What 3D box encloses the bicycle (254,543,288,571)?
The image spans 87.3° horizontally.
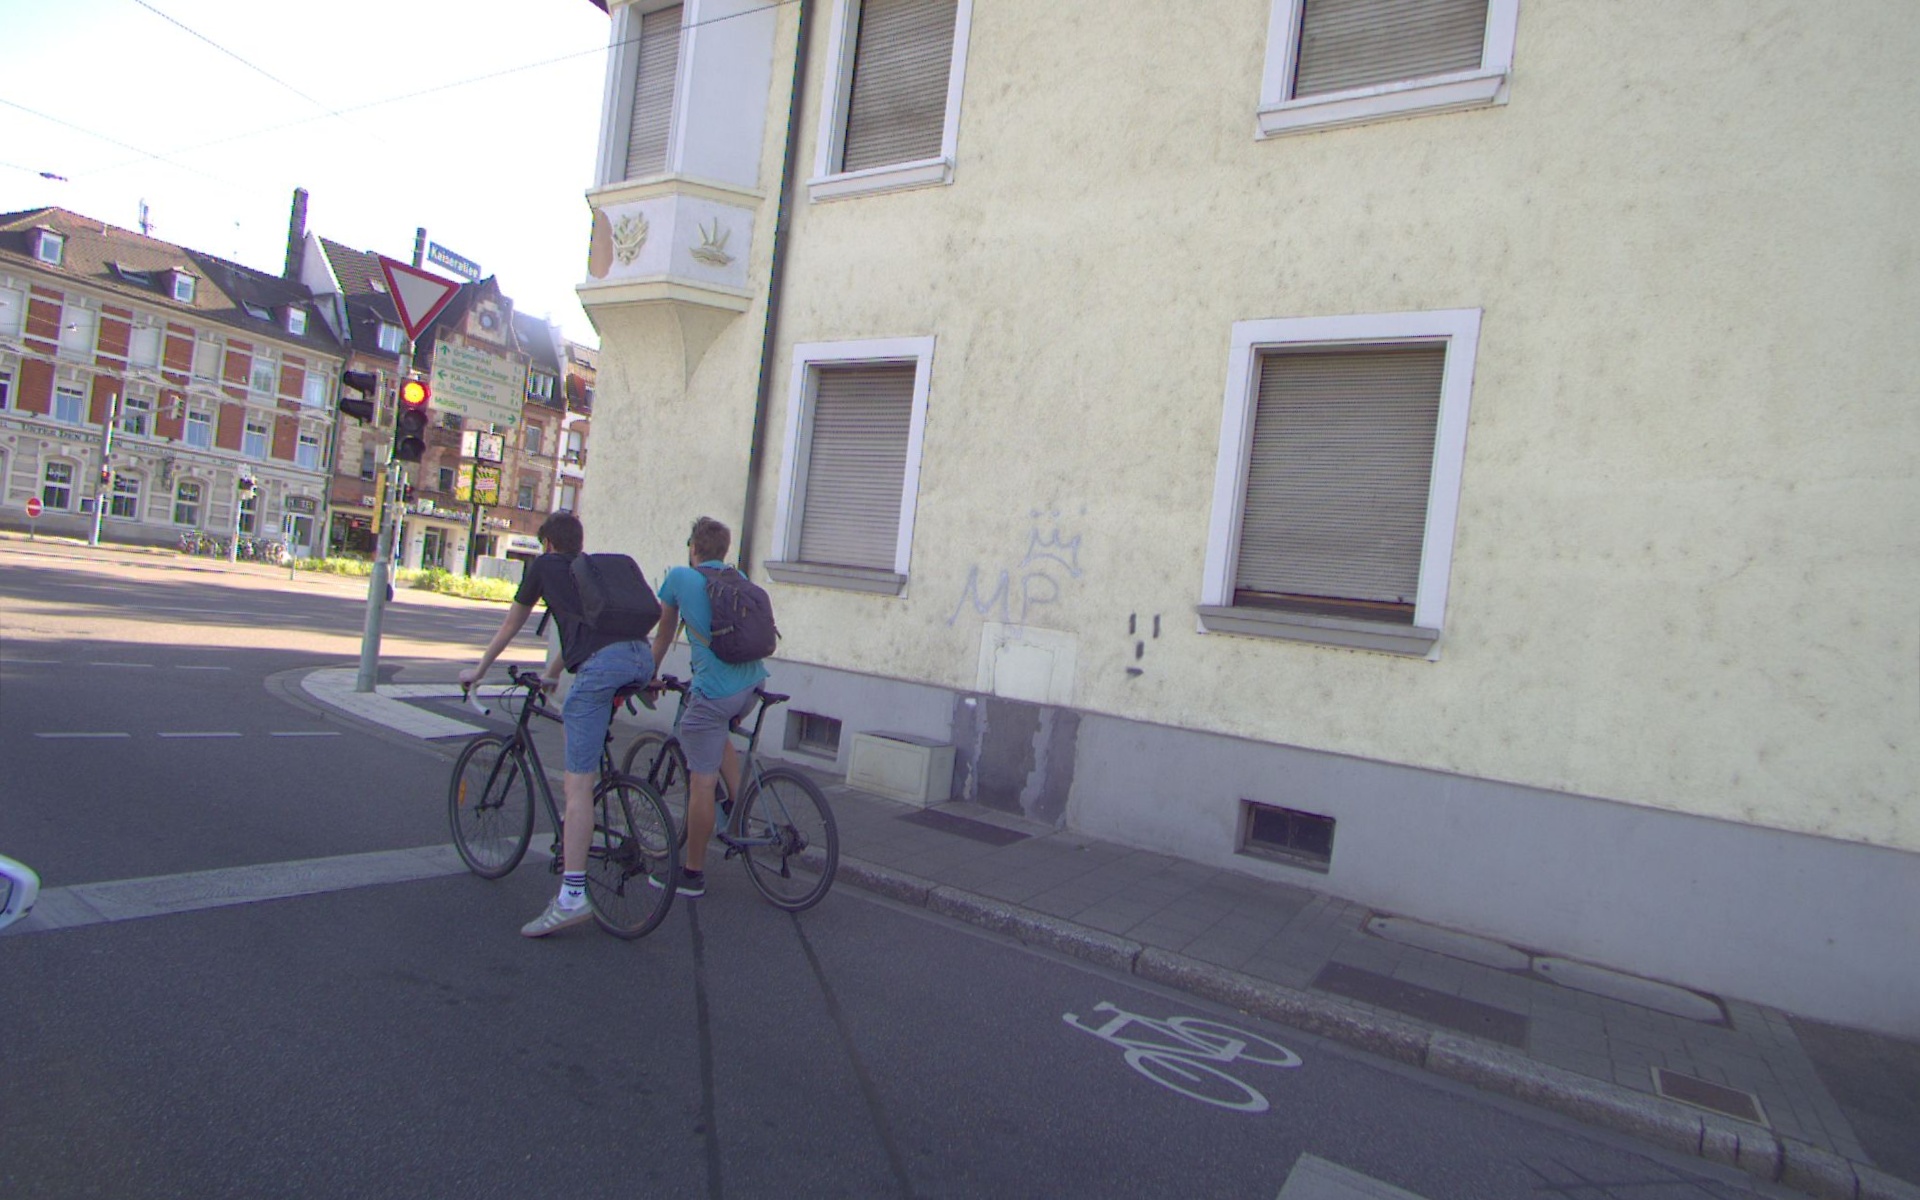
[{"bbox_3d":[-33.104,-2.069,48.318,2.102,1.150,0.609,7,0,37],"label":"bicycle"}]

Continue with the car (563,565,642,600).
[{"bbox_3d":[-23.160,-1.125,65.323,2.116,1.660,4.340,7,-1,31],"label":"car"}]

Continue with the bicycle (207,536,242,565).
[{"bbox_3d":[-34.202,-2.309,46.762,2.140,1.157,0.618,7,0,37],"label":"bicycle"}]

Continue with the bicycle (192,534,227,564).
[{"bbox_3d":[-34.537,-2.357,46.285,2.140,1.157,0.618,7,0,37],"label":"bicycle"}]

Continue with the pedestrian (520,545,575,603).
[{"bbox_3d":[-16.558,-1.041,40.380,1.285,2.068,1.321,7,0,31],"label":"pedestrian"}]

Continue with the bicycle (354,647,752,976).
[{"bbox_3d":[-1.911,0.852,4.594,1.897,1.023,0.645,7,0,34],"label":"bicycle"}]

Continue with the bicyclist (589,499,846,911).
[{"bbox_3d":[-1.266,0.496,5.249,0.961,1.917,0.602,6,-1,34],"label":"bicyclist"}]

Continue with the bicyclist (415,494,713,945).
[{"bbox_3d":[-1.799,0.470,4.548,1.083,1.775,0.562,7,0,34],"label":"bicyclist"}]

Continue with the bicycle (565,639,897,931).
[{"bbox_3d":[-1.250,0.883,5.284,1.784,1.130,0.519,7,0,34],"label":"bicycle"}]

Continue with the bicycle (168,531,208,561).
[{"bbox_3d":[-35.052,-2.446,45.683,2.140,1.157,0.806,7,0,37],"label":"bicycle"}]

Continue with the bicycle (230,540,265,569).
[{"bbox_3d":[-33.669,-2.162,47.514,2.140,1.157,0.618,7,0,37],"label":"bicycle"}]
